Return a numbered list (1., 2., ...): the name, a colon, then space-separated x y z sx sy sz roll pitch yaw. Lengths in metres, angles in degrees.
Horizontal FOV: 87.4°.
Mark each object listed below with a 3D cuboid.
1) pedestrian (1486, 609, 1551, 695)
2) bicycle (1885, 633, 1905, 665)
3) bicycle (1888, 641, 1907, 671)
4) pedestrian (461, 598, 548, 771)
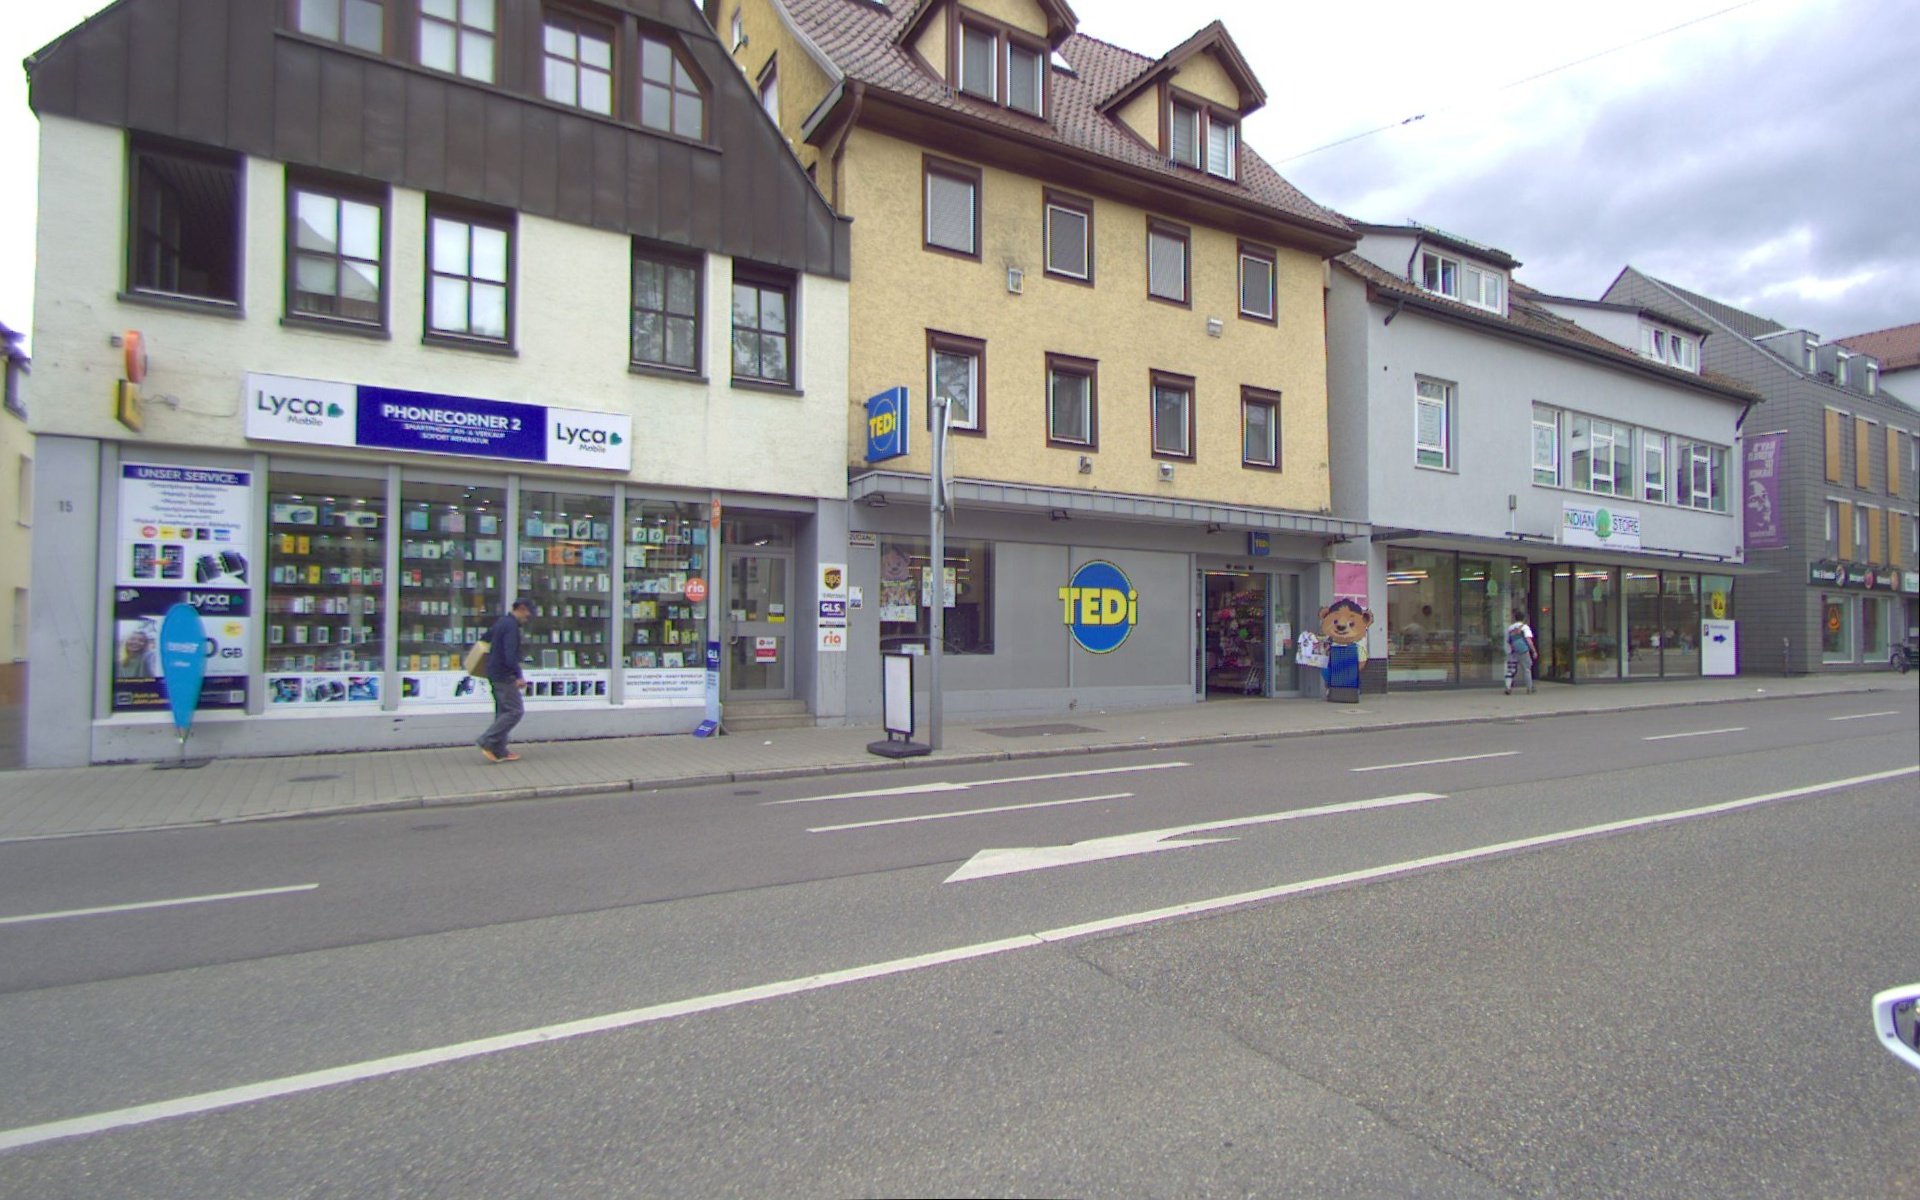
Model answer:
1. pedestrian: 11.733 1.080 21.114 0.969 1.728 0.750 1 2 -31
2. bicycle: 34.178 1.789 36.699 1.280 1.142 0.383 1 -2 -41
3. bicycle: 31.118 1.847 33.328 1.472 0.966 0.323 1 -2 -42
4. pedestrian: -4.814 0.855 10.600 0.766 1.736 0.683 1 0 -30
